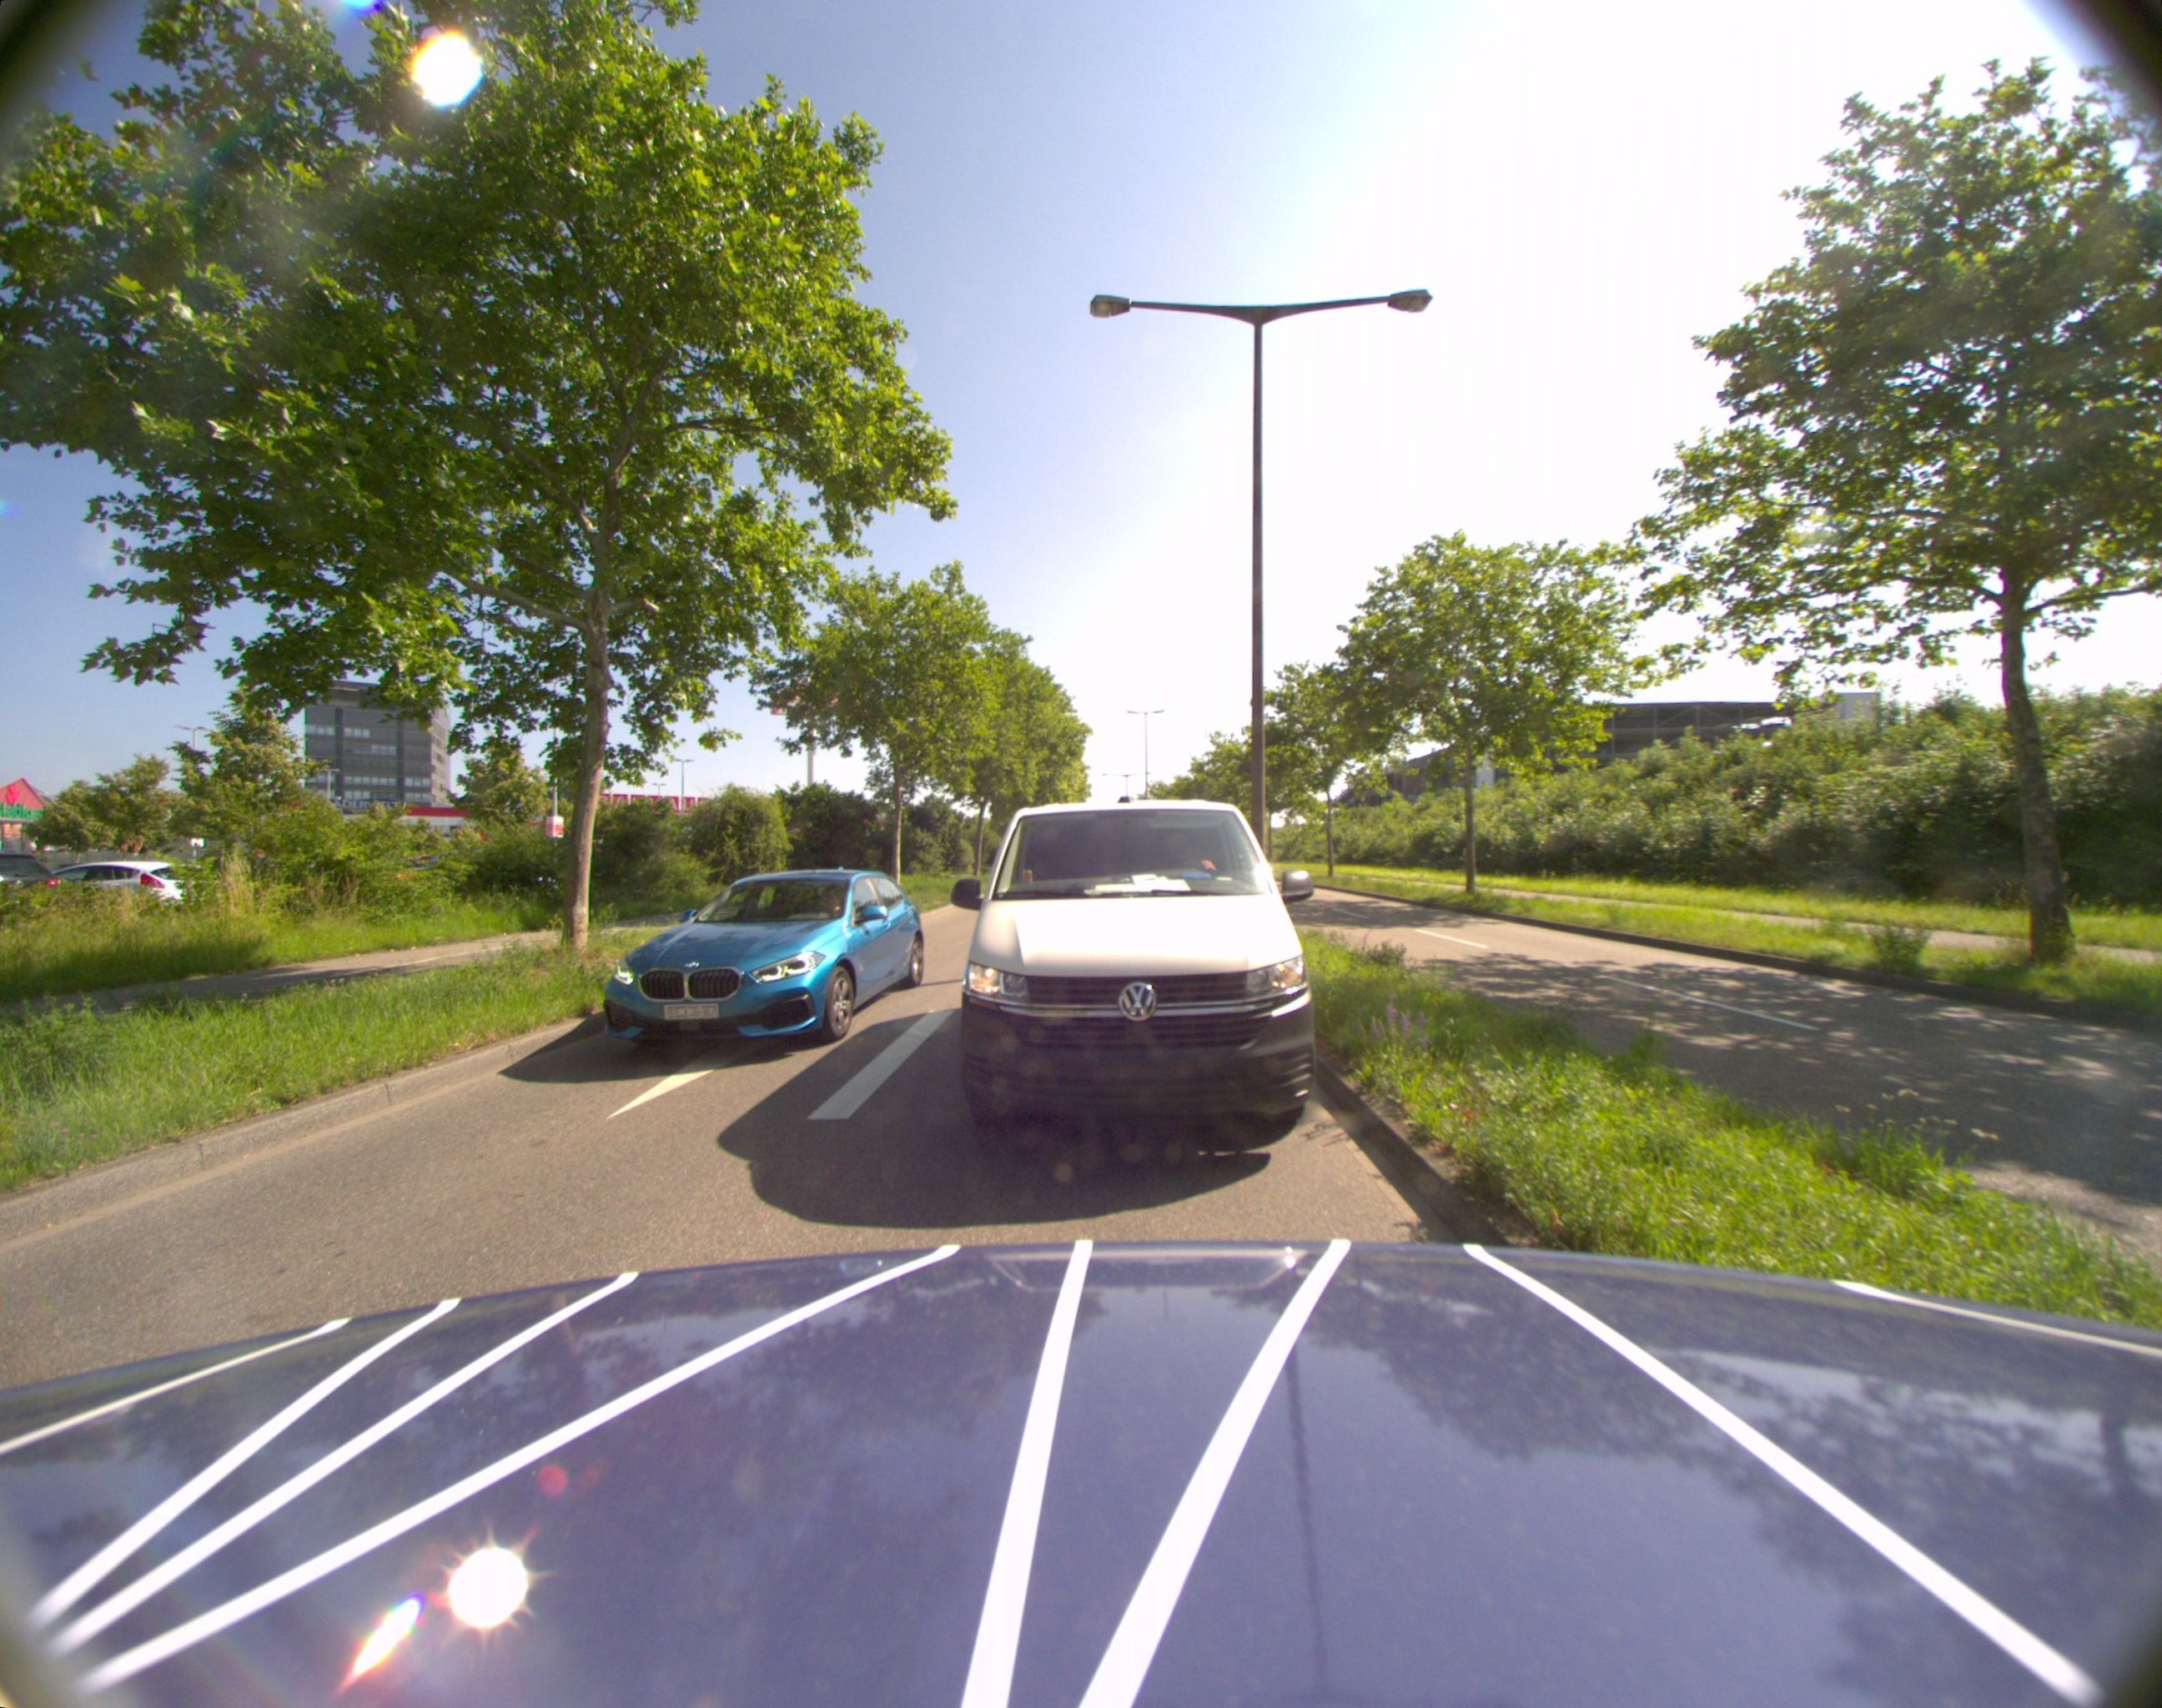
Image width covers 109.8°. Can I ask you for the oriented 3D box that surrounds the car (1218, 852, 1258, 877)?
[{"bbox_3d":[9.678,0.646,47.128,1.704,1.499,4.000,0,0,1],"label":"car"}]

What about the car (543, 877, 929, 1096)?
[{"bbox_3d":[-2.890,1.016,7.517,1.872,1.412,4.130,0,0,1],"label":"car"}]

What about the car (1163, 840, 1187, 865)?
[{"bbox_3d":[10.570,-0.190,85.748,1.998,2.647,5.786,1,1,1],"label":"car"}]

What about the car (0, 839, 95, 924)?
[{"bbox_3d":[-22.141,0.579,14.450,4.083,1.582,1.880,-2,1,-2],"label":"car"}]

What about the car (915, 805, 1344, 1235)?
[{"bbox_3d":[0.246,0.719,5.782,1.872,1.889,4.881,0,0,1],"label":"car"}]

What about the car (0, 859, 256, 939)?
[{"bbox_3d":[-22.118,0.996,17.444,4.083,1.582,1.880,-2,1,-2],"label":"car"}]
